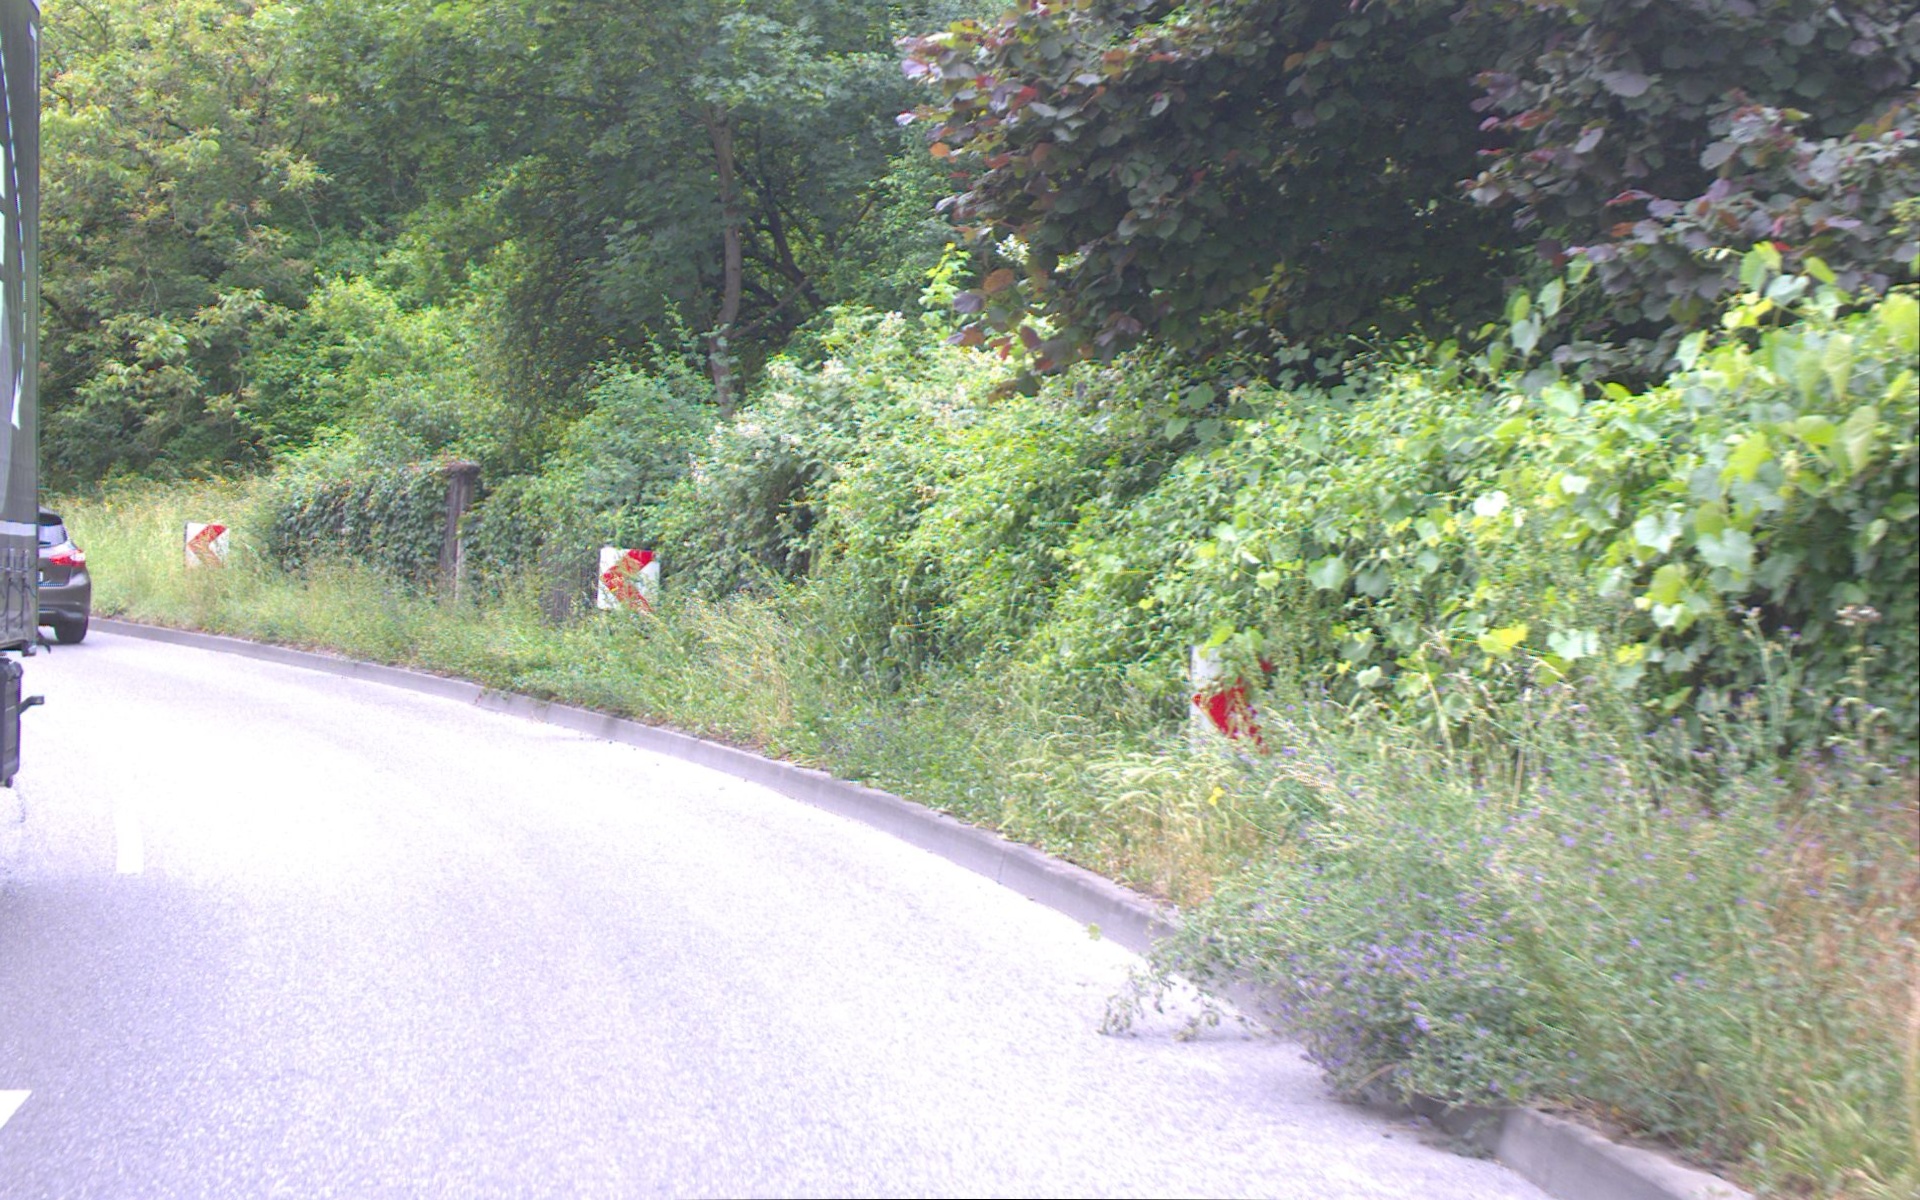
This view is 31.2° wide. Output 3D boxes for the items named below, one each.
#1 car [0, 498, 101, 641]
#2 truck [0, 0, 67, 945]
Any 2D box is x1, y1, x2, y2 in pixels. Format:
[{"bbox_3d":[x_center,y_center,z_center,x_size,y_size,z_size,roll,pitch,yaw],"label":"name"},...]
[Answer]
[{"bbox_3d":[-10.860,-0.294,37.516,1.839,1.478,4.000,0,-1,-30],"label":"car"},{"bbox_3d":[-4.146,-0.609,8.328,2.704,3.936,13.839,-1,1,-10],"label":"truck"}]
